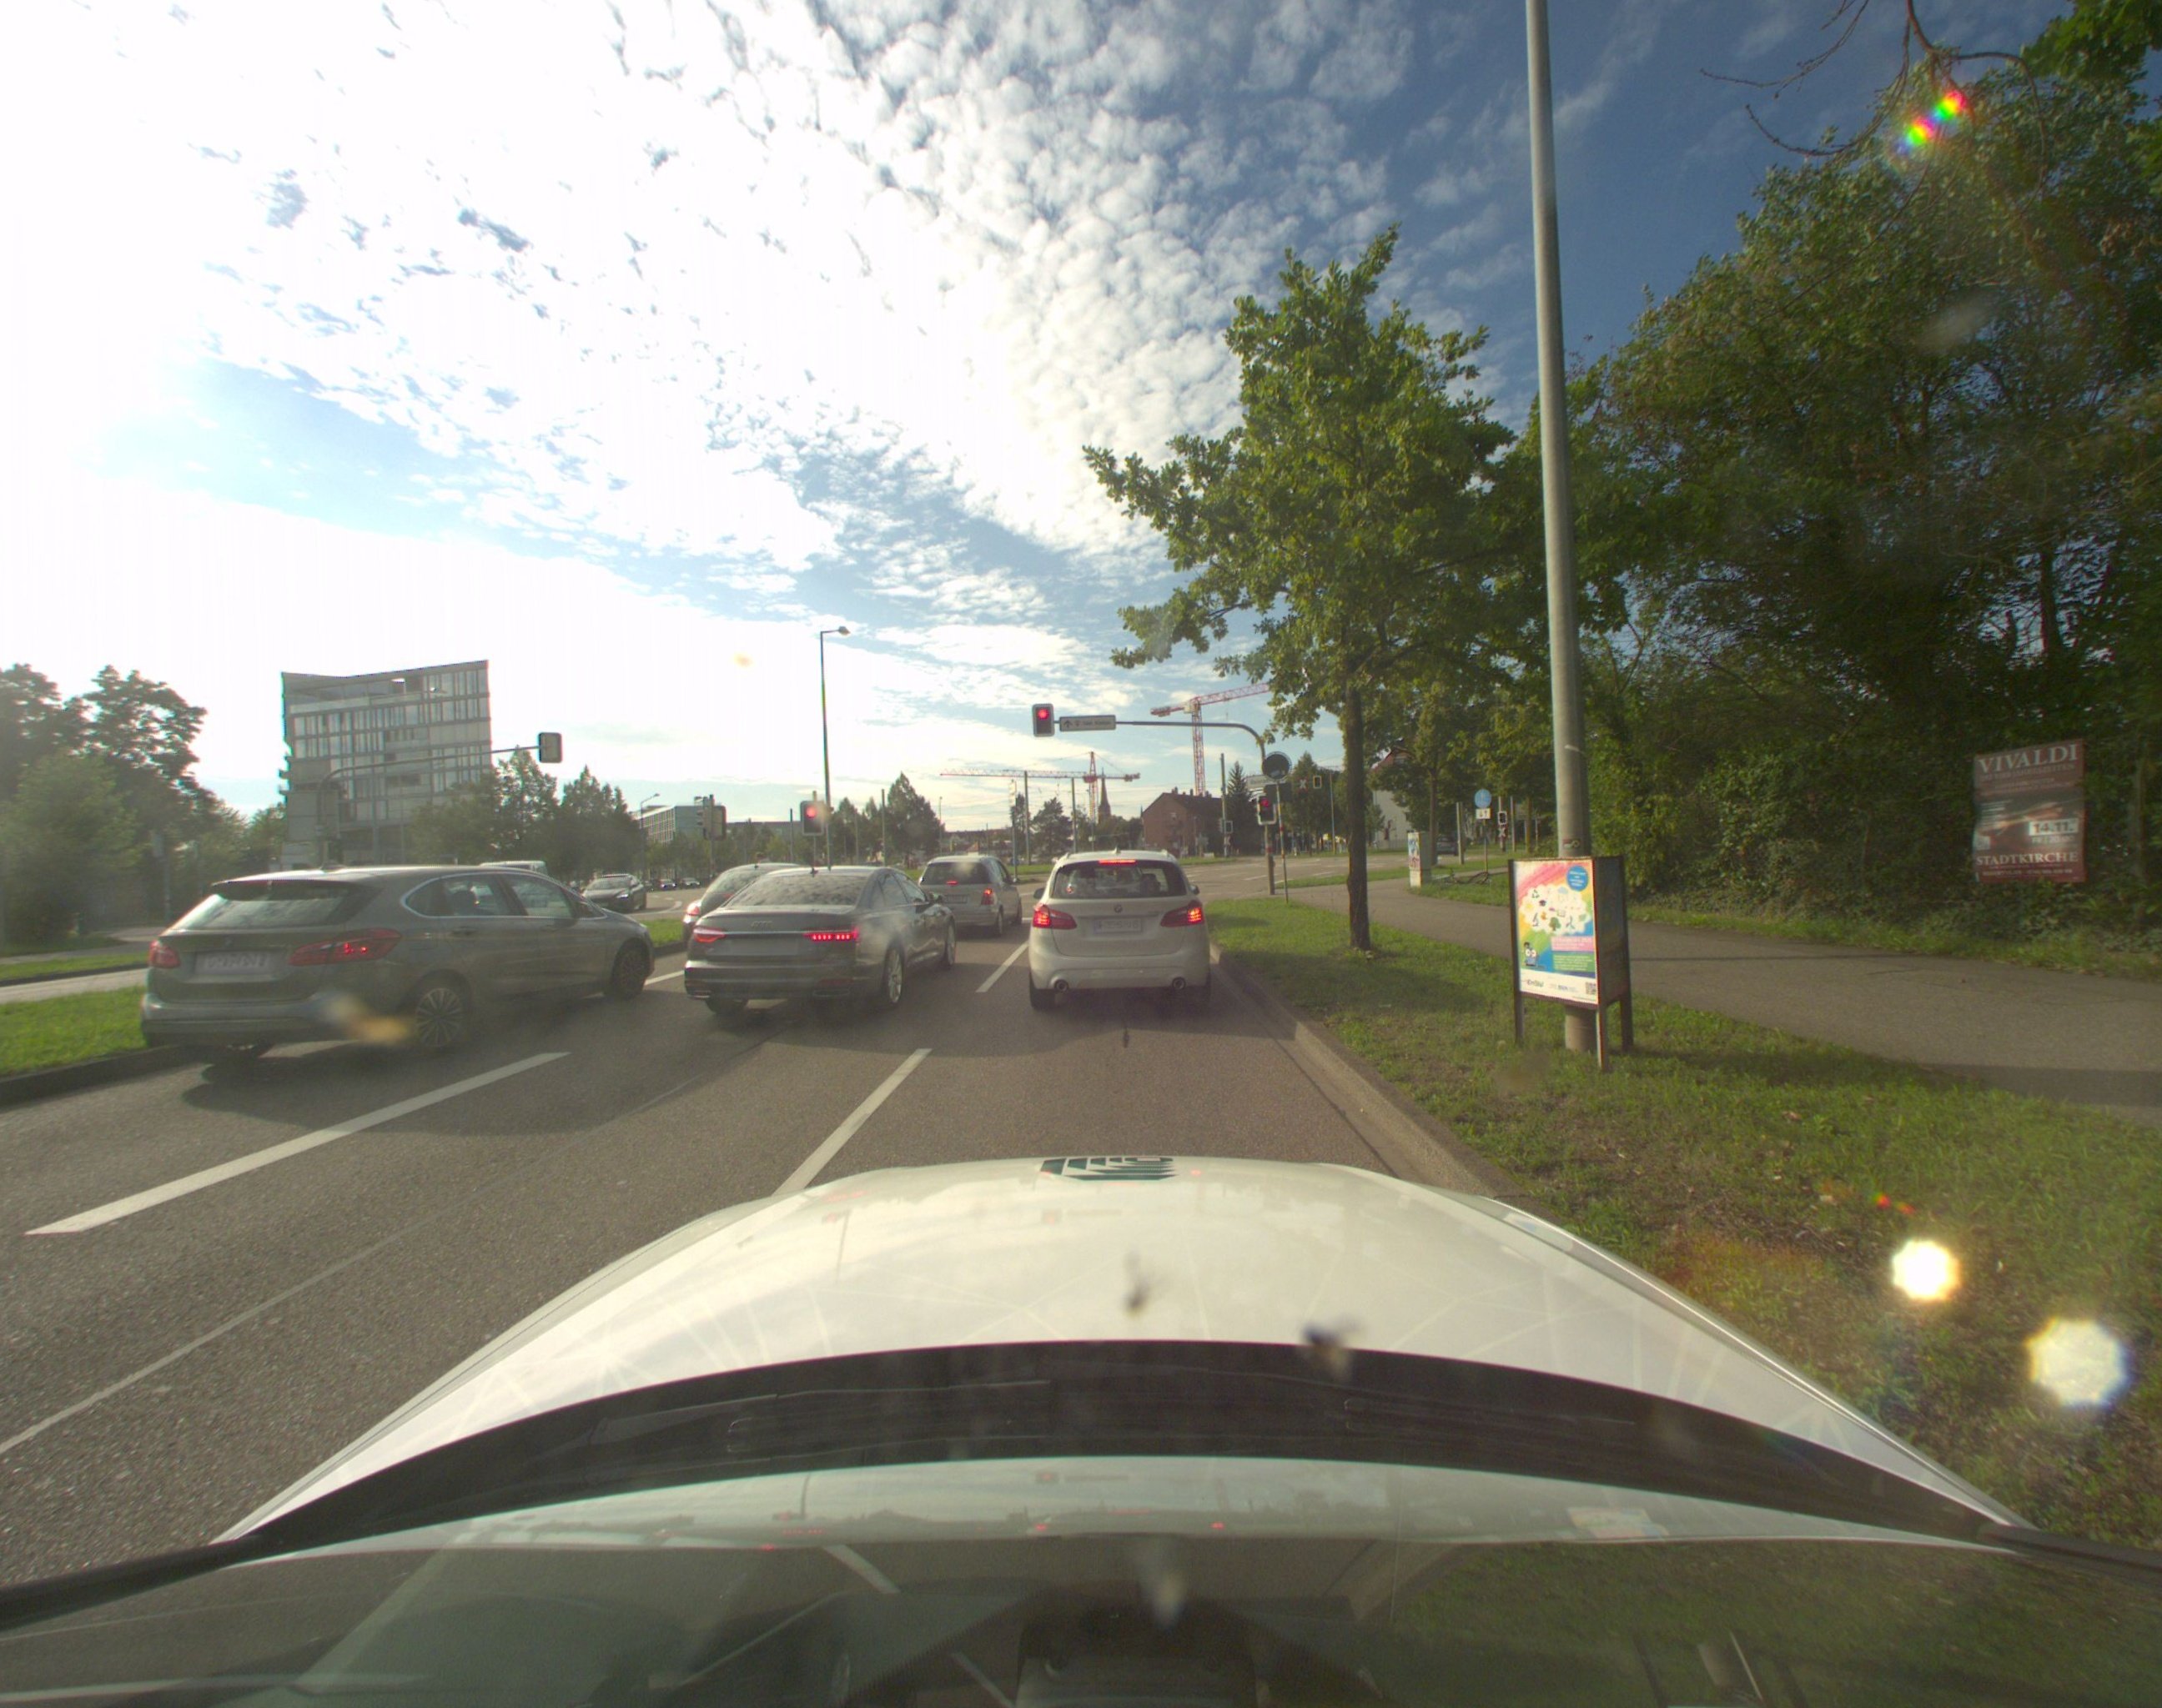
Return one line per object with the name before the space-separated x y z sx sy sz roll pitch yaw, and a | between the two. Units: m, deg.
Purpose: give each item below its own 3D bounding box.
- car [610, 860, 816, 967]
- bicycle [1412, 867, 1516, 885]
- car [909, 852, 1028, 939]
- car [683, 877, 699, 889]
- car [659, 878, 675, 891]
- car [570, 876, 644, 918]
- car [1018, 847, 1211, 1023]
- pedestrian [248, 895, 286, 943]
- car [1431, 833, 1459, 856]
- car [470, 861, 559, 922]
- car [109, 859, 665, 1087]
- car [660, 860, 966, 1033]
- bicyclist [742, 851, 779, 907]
car | -6.025 0.892 13.866 1.674 1.523 3.811 -1 0 1
bicycle | 10.532 0.597 22.556 1.407 0.385 2.568 -3 0 -9
car | -2.200 0.764 16.983 1.722 1.558 4.060 -1 0 2
car | -49.915 3.699 104.154 1.622 1.464 3.702 -3 0 -23
car | -50.991 3.761 100.334 1.600 1.415 3.639 -4 1 -25
car | -18.552 1.674 32.073 1.909 1.410 4.174 -4 -1 -23
car | 0.363 0.735 9.425 1.723 1.558 4.059 -1 0 2
pedestrian | -28.265 2.249 28.280 0.654 1.569 0.614 -3 -1 -7
car | 27.060 -0.703 60.490 1.554 1.573 3.219 -1 2 30
car | -23.727 1.543 34.370 2.004 2.235 5.874 -4 0 -25
car | -5.932 0.853 7.756 1.722 1.558 4.021 -1 0 2
car | -2.695 0.832 9.489 1.883 1.483 4.614 -1 -1 2
bicyclist | -9.241 0.715 23.531 0.850 1.526 0.737 -3 -1 -15
